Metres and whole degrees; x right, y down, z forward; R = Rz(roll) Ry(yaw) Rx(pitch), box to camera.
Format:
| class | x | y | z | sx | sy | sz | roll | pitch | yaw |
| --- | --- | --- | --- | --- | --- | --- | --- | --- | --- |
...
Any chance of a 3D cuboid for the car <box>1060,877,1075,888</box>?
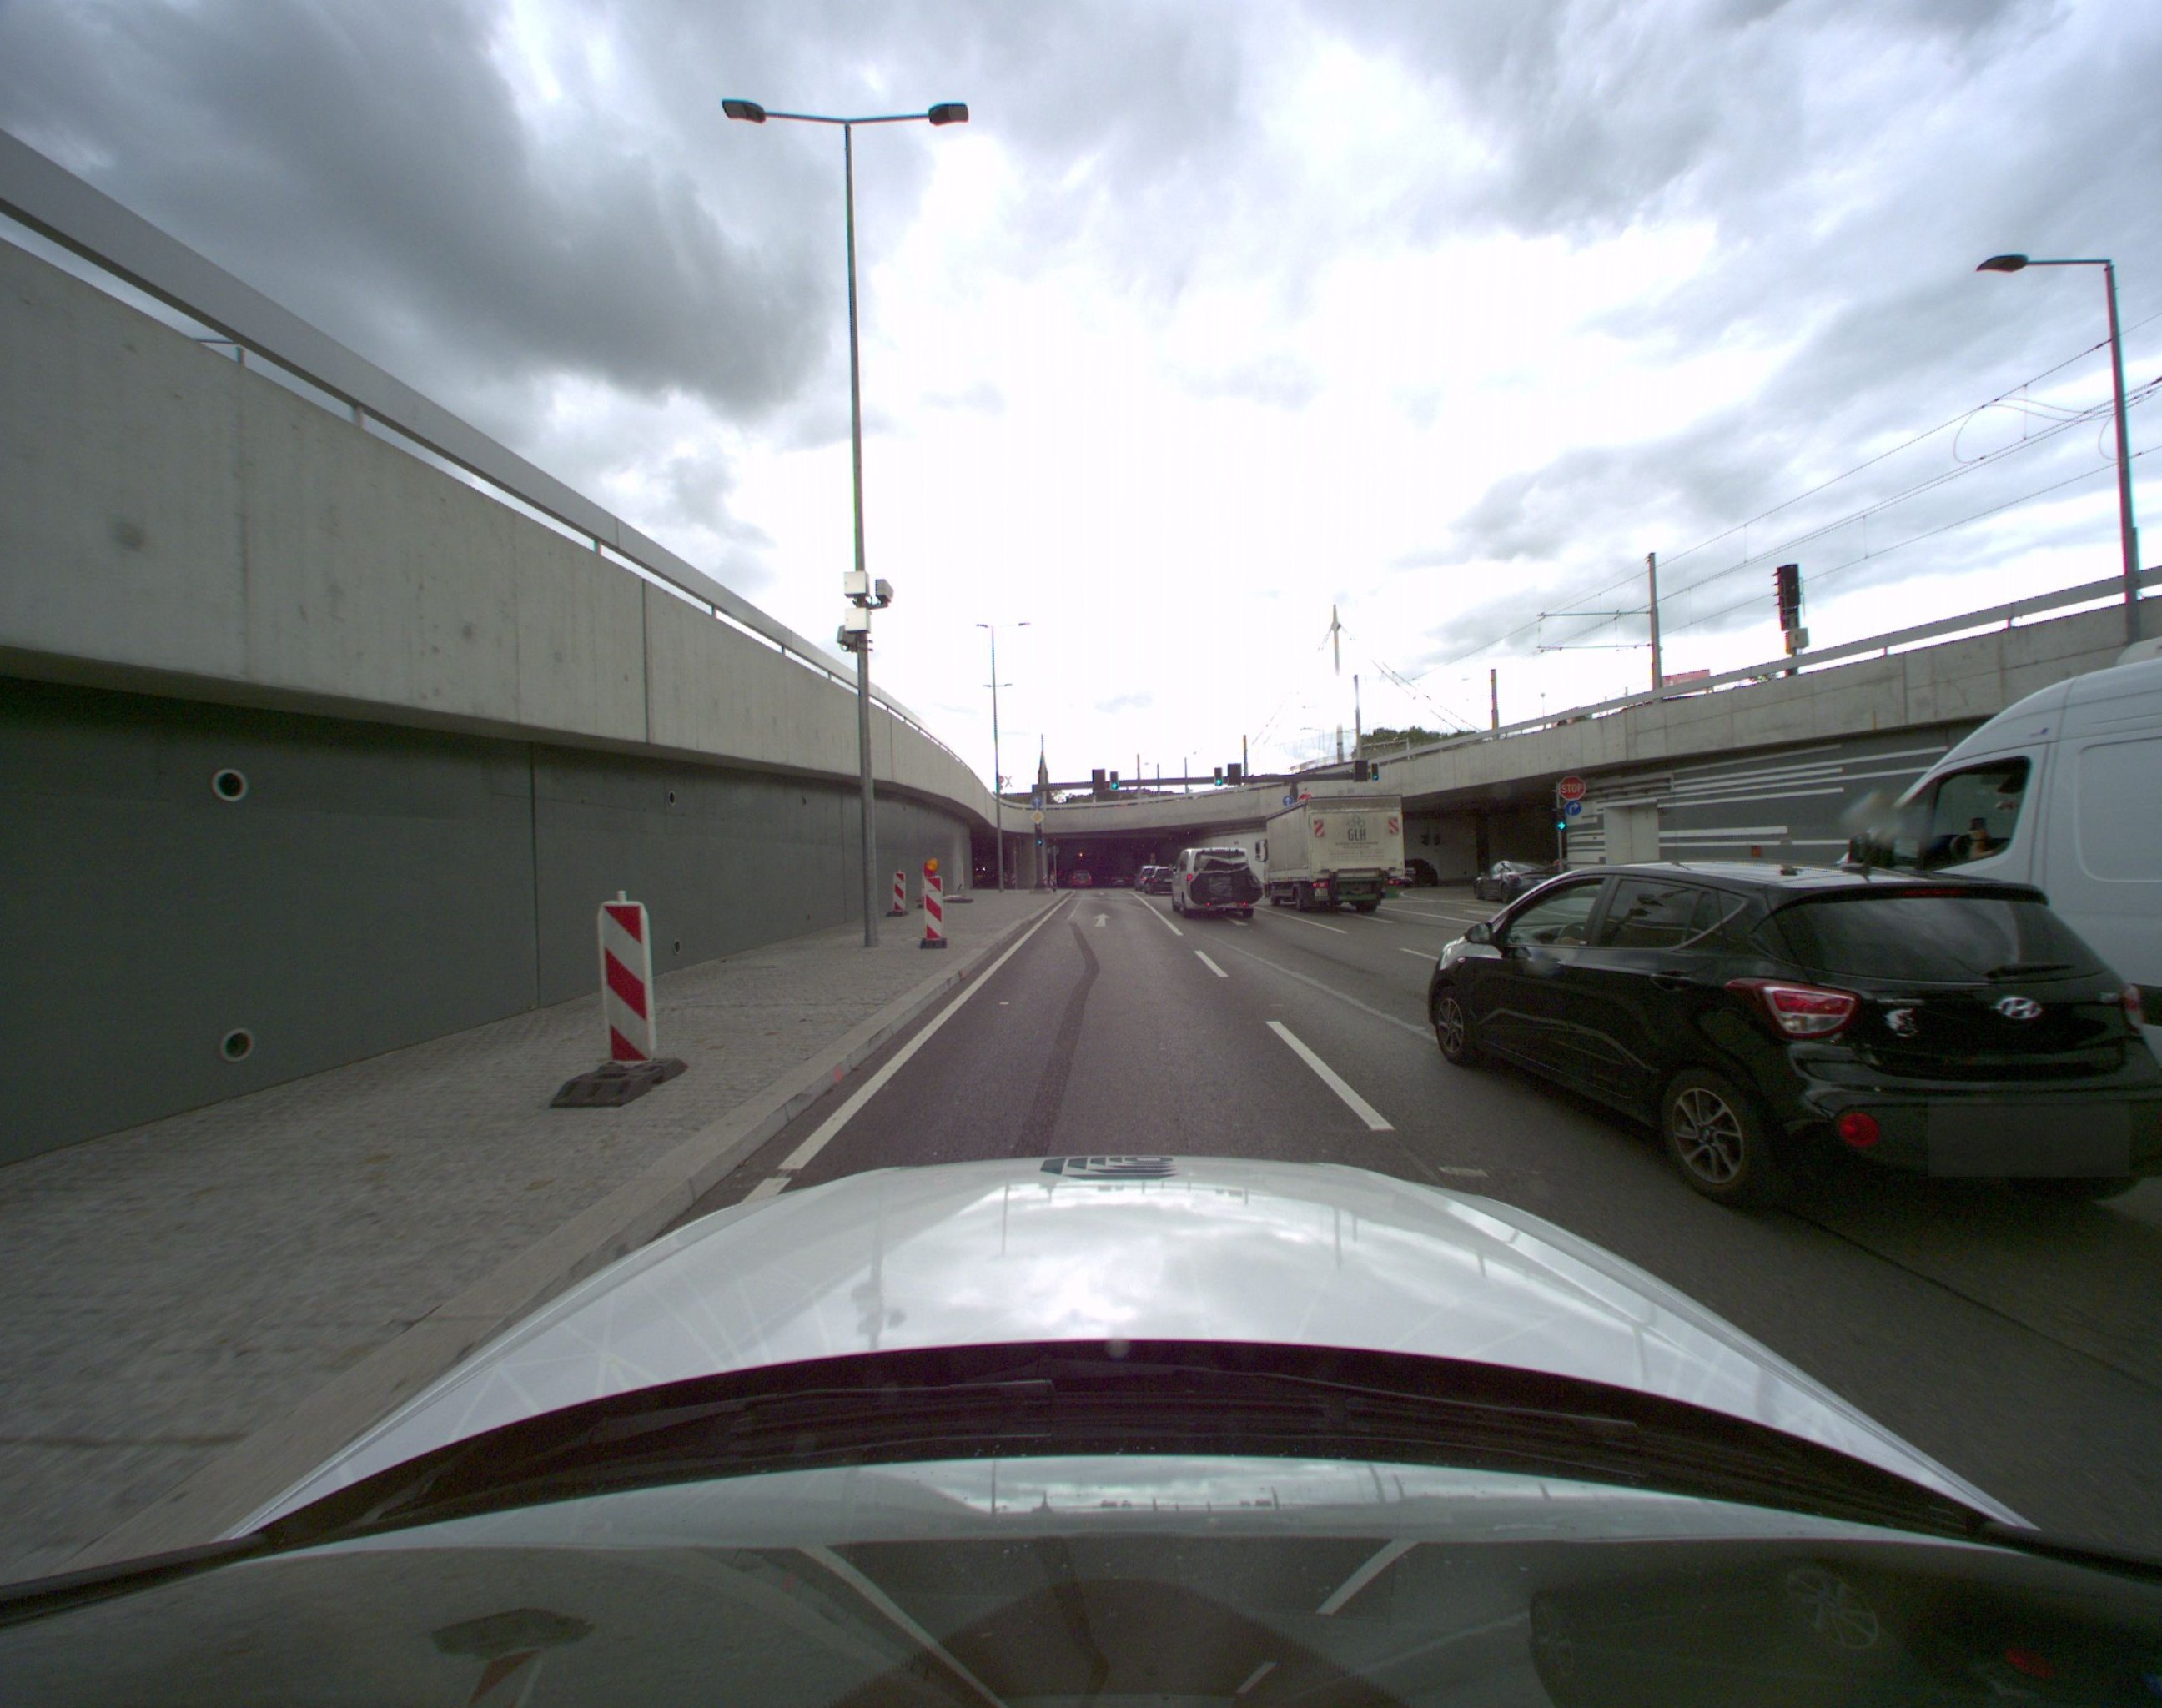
| class | x | y | z | sx | sy | sz | roll | pitch | yaw |
| --- | --- | --- | --- | --- | --- | --- | --- | --- | --- |
| car | -1.605 | 3.299 | 94.596 | 1.506 | 1.247 | 3.560 | -1 | -2 | -5 |

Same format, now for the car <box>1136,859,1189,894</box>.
| class | x | y | z | sx | sy | sz | roll | pitch | yaw |
| --- | --- | --- | --- | --- | --- | --- | --- | --- | --- |
| car | 4.043 | 1.093 | 40.843 | 1.817 | 1.684 | 3.990 | 0 | -1 | -7 |

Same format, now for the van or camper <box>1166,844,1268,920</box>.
| class | x | y | z | sx | sy | sz | roll | pitch | yaw |
| --- | --- | --- | --- | --- | --- | --- | --- | --- | --- |
| van or camper | 3.621 | 0.784 | 22.724 | 1.987 | 1.845 | 5.507 | 0 | -2 | 1 |

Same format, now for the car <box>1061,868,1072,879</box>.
| class | x | y | z | sx | sy | sz | roll | pitch | yaw |
| --- | --- | --- | --- | --- | --- | --- | --- | --- | --- |
| car | -2.569 | 3.480 | 143.488 | 1.988 | 1.773 | 3.998 | -1 | 0 | -2 |

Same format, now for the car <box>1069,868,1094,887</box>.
| class | x | y | z | sx | sy | sz | roll | pitch | yaw |
| --- | --- | --- | --- | --- | --- | --- | --- | --- | --- |
| car | 0.021 | 1.916 | 67.238 | 1.657 | 1.488 | 3.560 | -1 | -2 | -5 |

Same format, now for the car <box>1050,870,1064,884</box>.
| class | x | y | z | sx | sy | sz | roll | pitch | yaw |
| --- | --- | --- | --- | --- | --- | --- | --- | --- | --- |
| car | -3.844 | 3.657 | 130.534 | 1.990 | 2.013 | 3.994 | -1 | 0 | -4 |

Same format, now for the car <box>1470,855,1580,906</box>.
| class | x | y | z | sx | sy | sz | roll | pitch | yaw |
| --- | --- | --- | --- | --- | --- | --- | --- | --- | --- |
| car | 14.757 | 0.826 | 27.372 | 1.980 | 1.401 | 4.482 | -4 | 0 | 12 |

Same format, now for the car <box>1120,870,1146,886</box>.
| class | x | y | z | sx | sy | sz | roll | pitch | yaw |
| --- | --- | --- | --- | --- | --- | --- | --- | --- | --- |
| car | 5.607 | 2.660 | 88.742 | 1.989 | 1.676 | 4.495 | -1 | -2 | -8 |

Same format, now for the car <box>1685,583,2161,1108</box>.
| class | x | y | z | sx | sy | sz | roll | pitch | yaw |
| --- | --- | --- | --- | --- | --- | --- | --- | --- | --- |
| car | 6.742 | -0.061 | 4.085 | 2.068 | 2.773 | 7.327 | -1 | 0 | 1 |

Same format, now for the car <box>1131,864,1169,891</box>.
| class | x | y | z | sx | sy | sz | roll | pitch | yaw |
| --- | --- | --- | --- | --- | --- | --- | --- | --- | --- |
| car | 4.273 | 1.432 | 50.933 | 1.814 | 1.580 | 3.996 | 2 | -1 | -2 |

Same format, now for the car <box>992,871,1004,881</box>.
| class | x | y | z | sx | sy | sz | roll | pitch | yaw |
| --- | --- | --- | --- | --- | --- | --- | --- | --- | --- |
| car | -14.142 | 3.767 | 138.878 | 1.806 | 1.604 | 4.777 | -2 | 0 | -6 |

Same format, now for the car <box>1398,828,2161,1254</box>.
| class | x | y | z | sx | sy | sz | roll | pitch | yaw |
| --- | --- | --- | --- | --- | --- | --- | --- | --- | --- |
| car | 3.459 | 0.682 | 4.843 | 1.677 | 1.545 | 3.691 | 0 | 0 | -1 |

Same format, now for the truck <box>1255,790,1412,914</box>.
| class | x | y | z | sx | sy | sz | roll | pitch | yaw |
| --- | --- | --- | --- | --- | --- | --- | --- | --- | --- |
| truck | 7.473 | -0.003 | 25.274 | 2.640 | 3.185 | 7.427 | -2 | -1 | 1 |

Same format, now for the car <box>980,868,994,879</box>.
| class | x | y | z | sx | sy | sz | roll | pitch | yaw |
| --- | --- | --- | --- | --- | --- | --- | --- | --- | --- |
| car | -12.517 | 2.569 | 108.600 | 1.662 | 1.441 | 4.105 | -2 | -1 | -5 |

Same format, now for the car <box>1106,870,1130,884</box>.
| class | x | y | z | sx | sy | sz | roll | pitch | yaw |
| --- | --- | --- | --- | --- | --- | --- | --- | --- | --- |
| car | 3.374 | 2.104 | 74.476 | 1.661 | 1.247 | 3.560 | -1 | -2 | -5 |

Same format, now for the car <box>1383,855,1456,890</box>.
| class | x | y | z | sx | sy | sz | roll | pitch | yaw |
| --- | --- | --- | --- | --- | --- | --- | --- | --- | --- |
| car | 18.558 | 0.989 | 44.626 | 4.019 | 1.588 | 1.813 | -5 | 1 | -36 |
